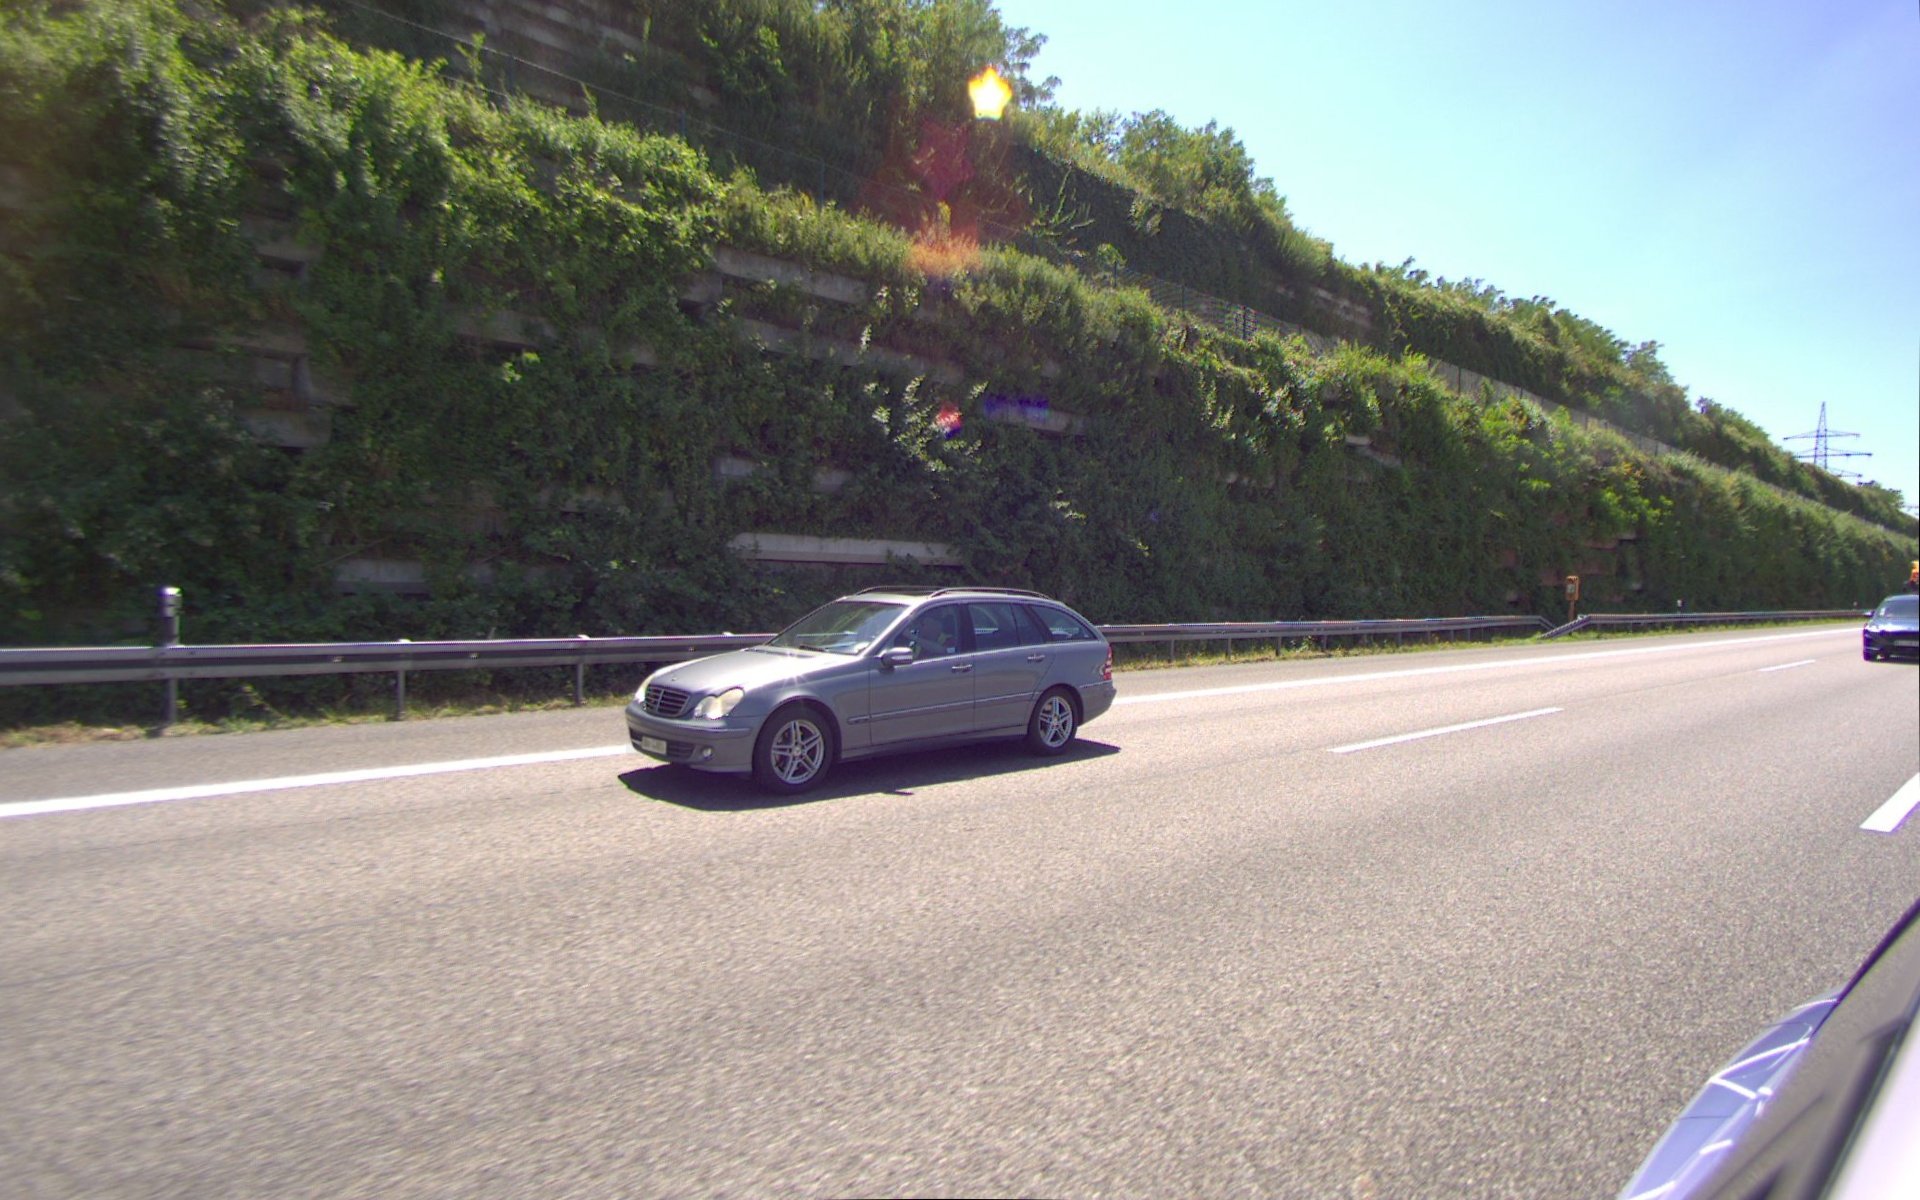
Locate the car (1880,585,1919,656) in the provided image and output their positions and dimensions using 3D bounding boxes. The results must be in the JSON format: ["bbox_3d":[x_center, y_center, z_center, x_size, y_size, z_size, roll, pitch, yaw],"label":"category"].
[{"bbox_3d":[24.369,0.501,25.116,4.066,1.674,1.797,0,1,-41],"label":"car"}]

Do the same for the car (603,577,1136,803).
[{"bbox_3d":[-0.552,0.560,8.597,4.376,1.446,1.687,0,1,-42],"label":"car"}]
